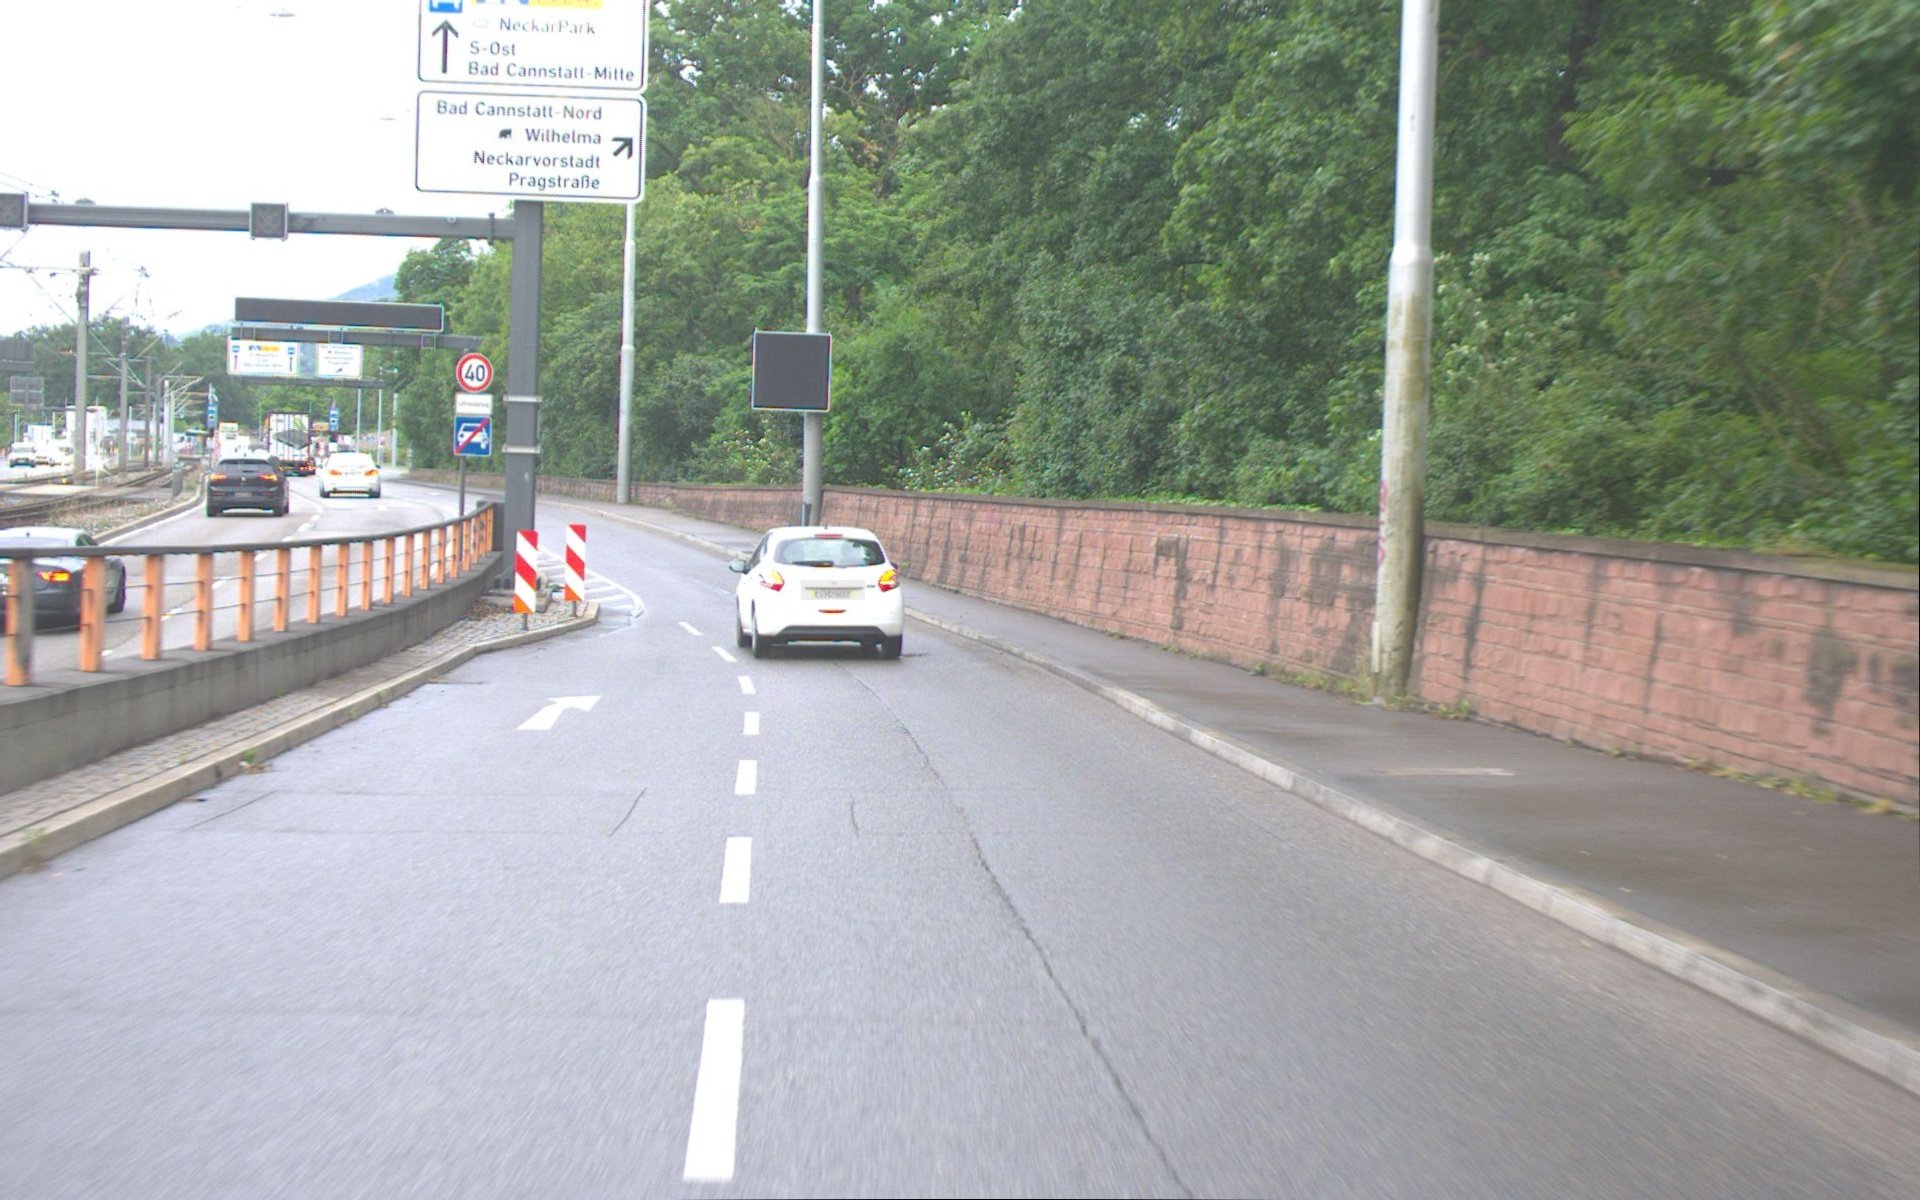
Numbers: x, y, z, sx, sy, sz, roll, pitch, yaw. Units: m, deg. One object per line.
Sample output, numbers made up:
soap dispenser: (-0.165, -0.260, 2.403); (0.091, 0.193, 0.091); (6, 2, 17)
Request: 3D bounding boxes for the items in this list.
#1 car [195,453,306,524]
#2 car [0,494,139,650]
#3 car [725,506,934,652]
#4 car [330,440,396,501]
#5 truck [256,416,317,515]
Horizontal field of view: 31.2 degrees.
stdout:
car: (-16.491, -2.580, 80.100); (1.993, 1.570, 4.001); (0, 1, -4)
car: (-12.545, -0.430, 47.915); (1.721, 1.884, 3.537); (1, 5, -7)
car: (-1.562, -0.200, 39.780); (1.955, 1.483, 4.000); (2, -2, -8)
car: (-19.526, -4.204, 112.309); (2.081, 1.866, 4.097); (0, 1, -10)
truck: (-42.754, -8.460, 218.547); (3.464, 5.383, 12.053); (2, -2, -10)
